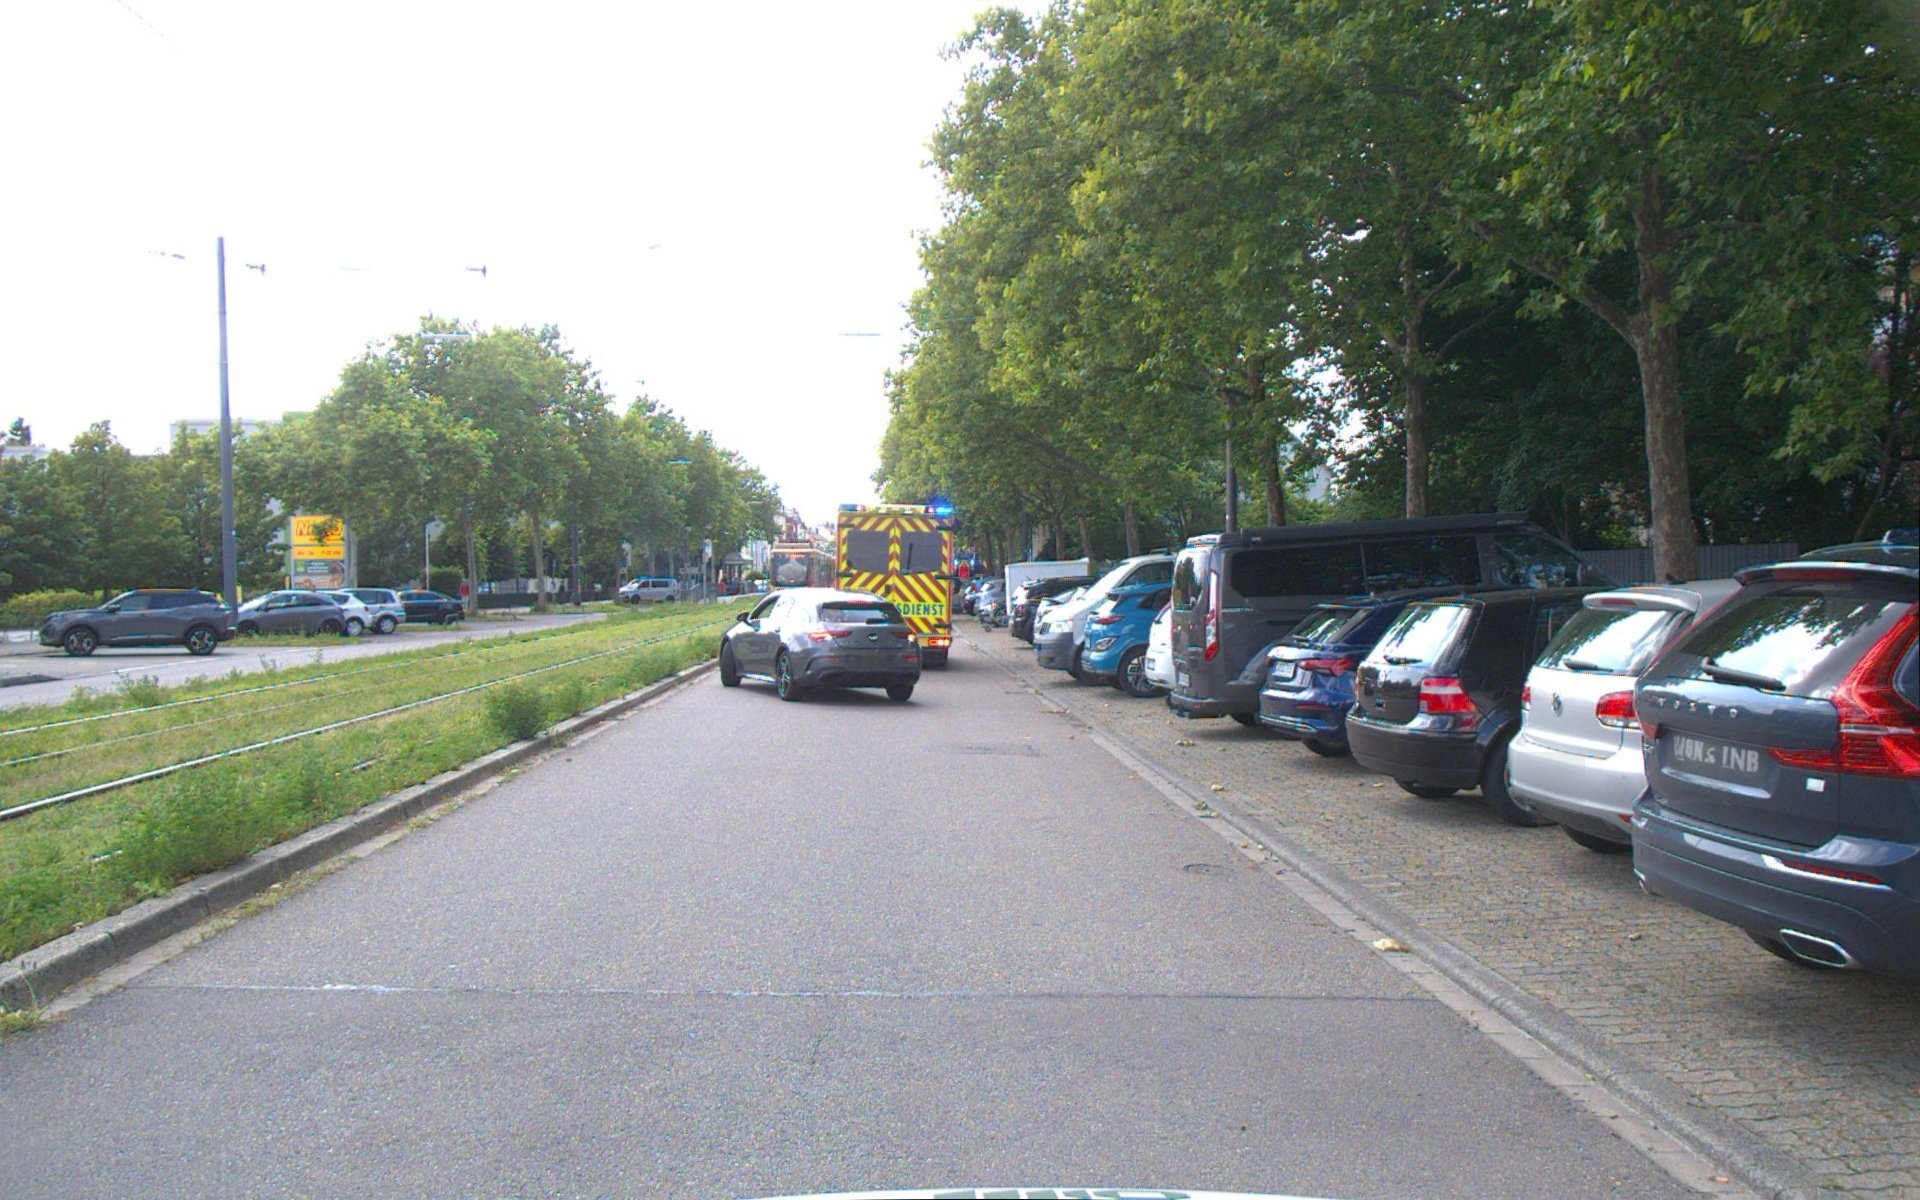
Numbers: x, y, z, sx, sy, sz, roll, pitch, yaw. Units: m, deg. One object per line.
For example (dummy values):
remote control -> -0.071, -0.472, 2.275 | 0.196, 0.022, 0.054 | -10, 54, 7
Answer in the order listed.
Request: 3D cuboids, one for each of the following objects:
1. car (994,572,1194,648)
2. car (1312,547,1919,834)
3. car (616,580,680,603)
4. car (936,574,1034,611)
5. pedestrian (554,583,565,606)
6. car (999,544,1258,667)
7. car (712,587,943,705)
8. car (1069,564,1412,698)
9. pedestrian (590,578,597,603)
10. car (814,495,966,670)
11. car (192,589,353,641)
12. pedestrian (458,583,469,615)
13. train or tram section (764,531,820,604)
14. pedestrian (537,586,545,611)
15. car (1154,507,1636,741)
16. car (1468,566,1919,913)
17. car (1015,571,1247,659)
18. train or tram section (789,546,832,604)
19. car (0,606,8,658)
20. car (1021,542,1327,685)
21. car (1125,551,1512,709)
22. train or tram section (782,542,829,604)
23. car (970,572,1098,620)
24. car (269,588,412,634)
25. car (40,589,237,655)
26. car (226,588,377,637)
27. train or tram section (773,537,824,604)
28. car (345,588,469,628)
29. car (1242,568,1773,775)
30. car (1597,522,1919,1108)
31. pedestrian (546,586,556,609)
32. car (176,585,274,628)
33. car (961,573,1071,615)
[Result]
car -> 3.139, 0.220, 39.329 | 4.458, 1.636, 1.853 | -2, 0, -7
car -> 4.572, 0.519, 11.201 | 3.897, 1.633, 1.750 | -2, 0, -13
car -> -24.233, -0.672, 128.655 | 4.588, 1.661, 1.855 | -1, 1, -42
car -> 1.193, -0.369, 78.908 | 4.458, 1.636, 1.853 | -2, 0, -7
pedestrian -> -27.433, -0.369, 113.306 | 0.619, 1.578, 0.622 | -1, 0, -1
car -> 3.081, 0.083, 30.691 | 4.458, 2.079, 1.853 | -2, 0, -7
car -> -1.941, 0.567, 22.777 | 1.738, 1.409, 4.433 | 1, 0, -25
car -> 3.936, 0.406, 23.595 | 4.459, 1.689, 1.853 | -2, 0, -7
pedestrian -> -27.975, -0.723, 126.168 | 0.457, 1.860, 0.422 | -1, 0, -4
car -> -1.278, -0.328, 32.525 | 2.588, 3.018, 6.298 | 2, 0, -1
car -> -20.792, 0.443, 50.082 | 4.192, 1.508, 1.857 | 0, 0, -39
pedestrian -> -27.064, -0.051, 90.141 | 0.457, 1.706, 0.603 | -1, 0, -4
train or tram section -> -8.955, -1.675, 88.702 | 2.462, 3.646, 7.441 | -2, 0, -3
pedestrian -> -25.928, -0.099, 102.265 | 0.413, 1.499, 0.467 | -1, 0, -7
car -> 4.398, 0.221, 17.163 | 4.455, 2.160, 1.855 | -2, 0, -3
car -> 4.840, 0.593, 8.485 | 3.887, 1.520, 1.755 | -2, 0, -3
car -> 3.494, 0.294, 34.184 | 4.458, 1.636, 1.853 | -2, 0, -7
train or tram section -> -9.974, -1.597, 110.988 | 2.462, 3.646, 7.441 | -2, 0, -3
car -> -31.169, 0.933, 49.829 | 3.905, 1.592, 1.777 | 1, 0, 0
car -> 3.314, 0.192, 26.105 | 4.458, 2.035, 1.853 | -2, 0, -7
car -> 4.478, 0.351, 21.085 | 4.455, 1.797, 1.855 | -2, 0, -3
train or tram section -> -9.642, -1.624, 103.556 | 2.462, 3.646, 7.441 | -2, 0, -3
car -> 2.698, -0.154, 60.879 | 4.458, 1.636, 1.853 | -2, 0, -7
car -> -20.953, 0.354, 56.022 | 4.192, 1.508, 1.857 | 0, 0, -39
car -> -19.804, 0.511, 39.999 | 4.172, 1.508, 1.867 | 0, 0, -28
car -> -21.066, 0.382, 52.980 | 4.192, 1.508, 1.857 | 0, 0, -39
train or tram section -> -9.302, -1.649, 96.122 | 2.462, 3.646, 7.441 | -2, 0, -3
car -> -21.443, 0.312, 64.210 | 4.199, 1.508, 1.854 | 0, 0, -42
car -> 4.529, 0.562, 14.054 | 3.887, 1.520, 1.755 | -2, 0, -3
car -> 4.662, 0.545, 5.631 | 4.292, 1.668, 1.756 | -2, 0, -1
pedestrian -> -25.736, -0.131, 104.151 | 0.412, 1.439, 0.467 | -1, 0, 22
car -> -32.493, 0.269, 73.090 | 3.912, 1.780, 1.997 | 2, 1, 29
car -> 2.358, -0.248, 70.721 | 4.458, 1.636, 1.853 | -2, 0, -7
